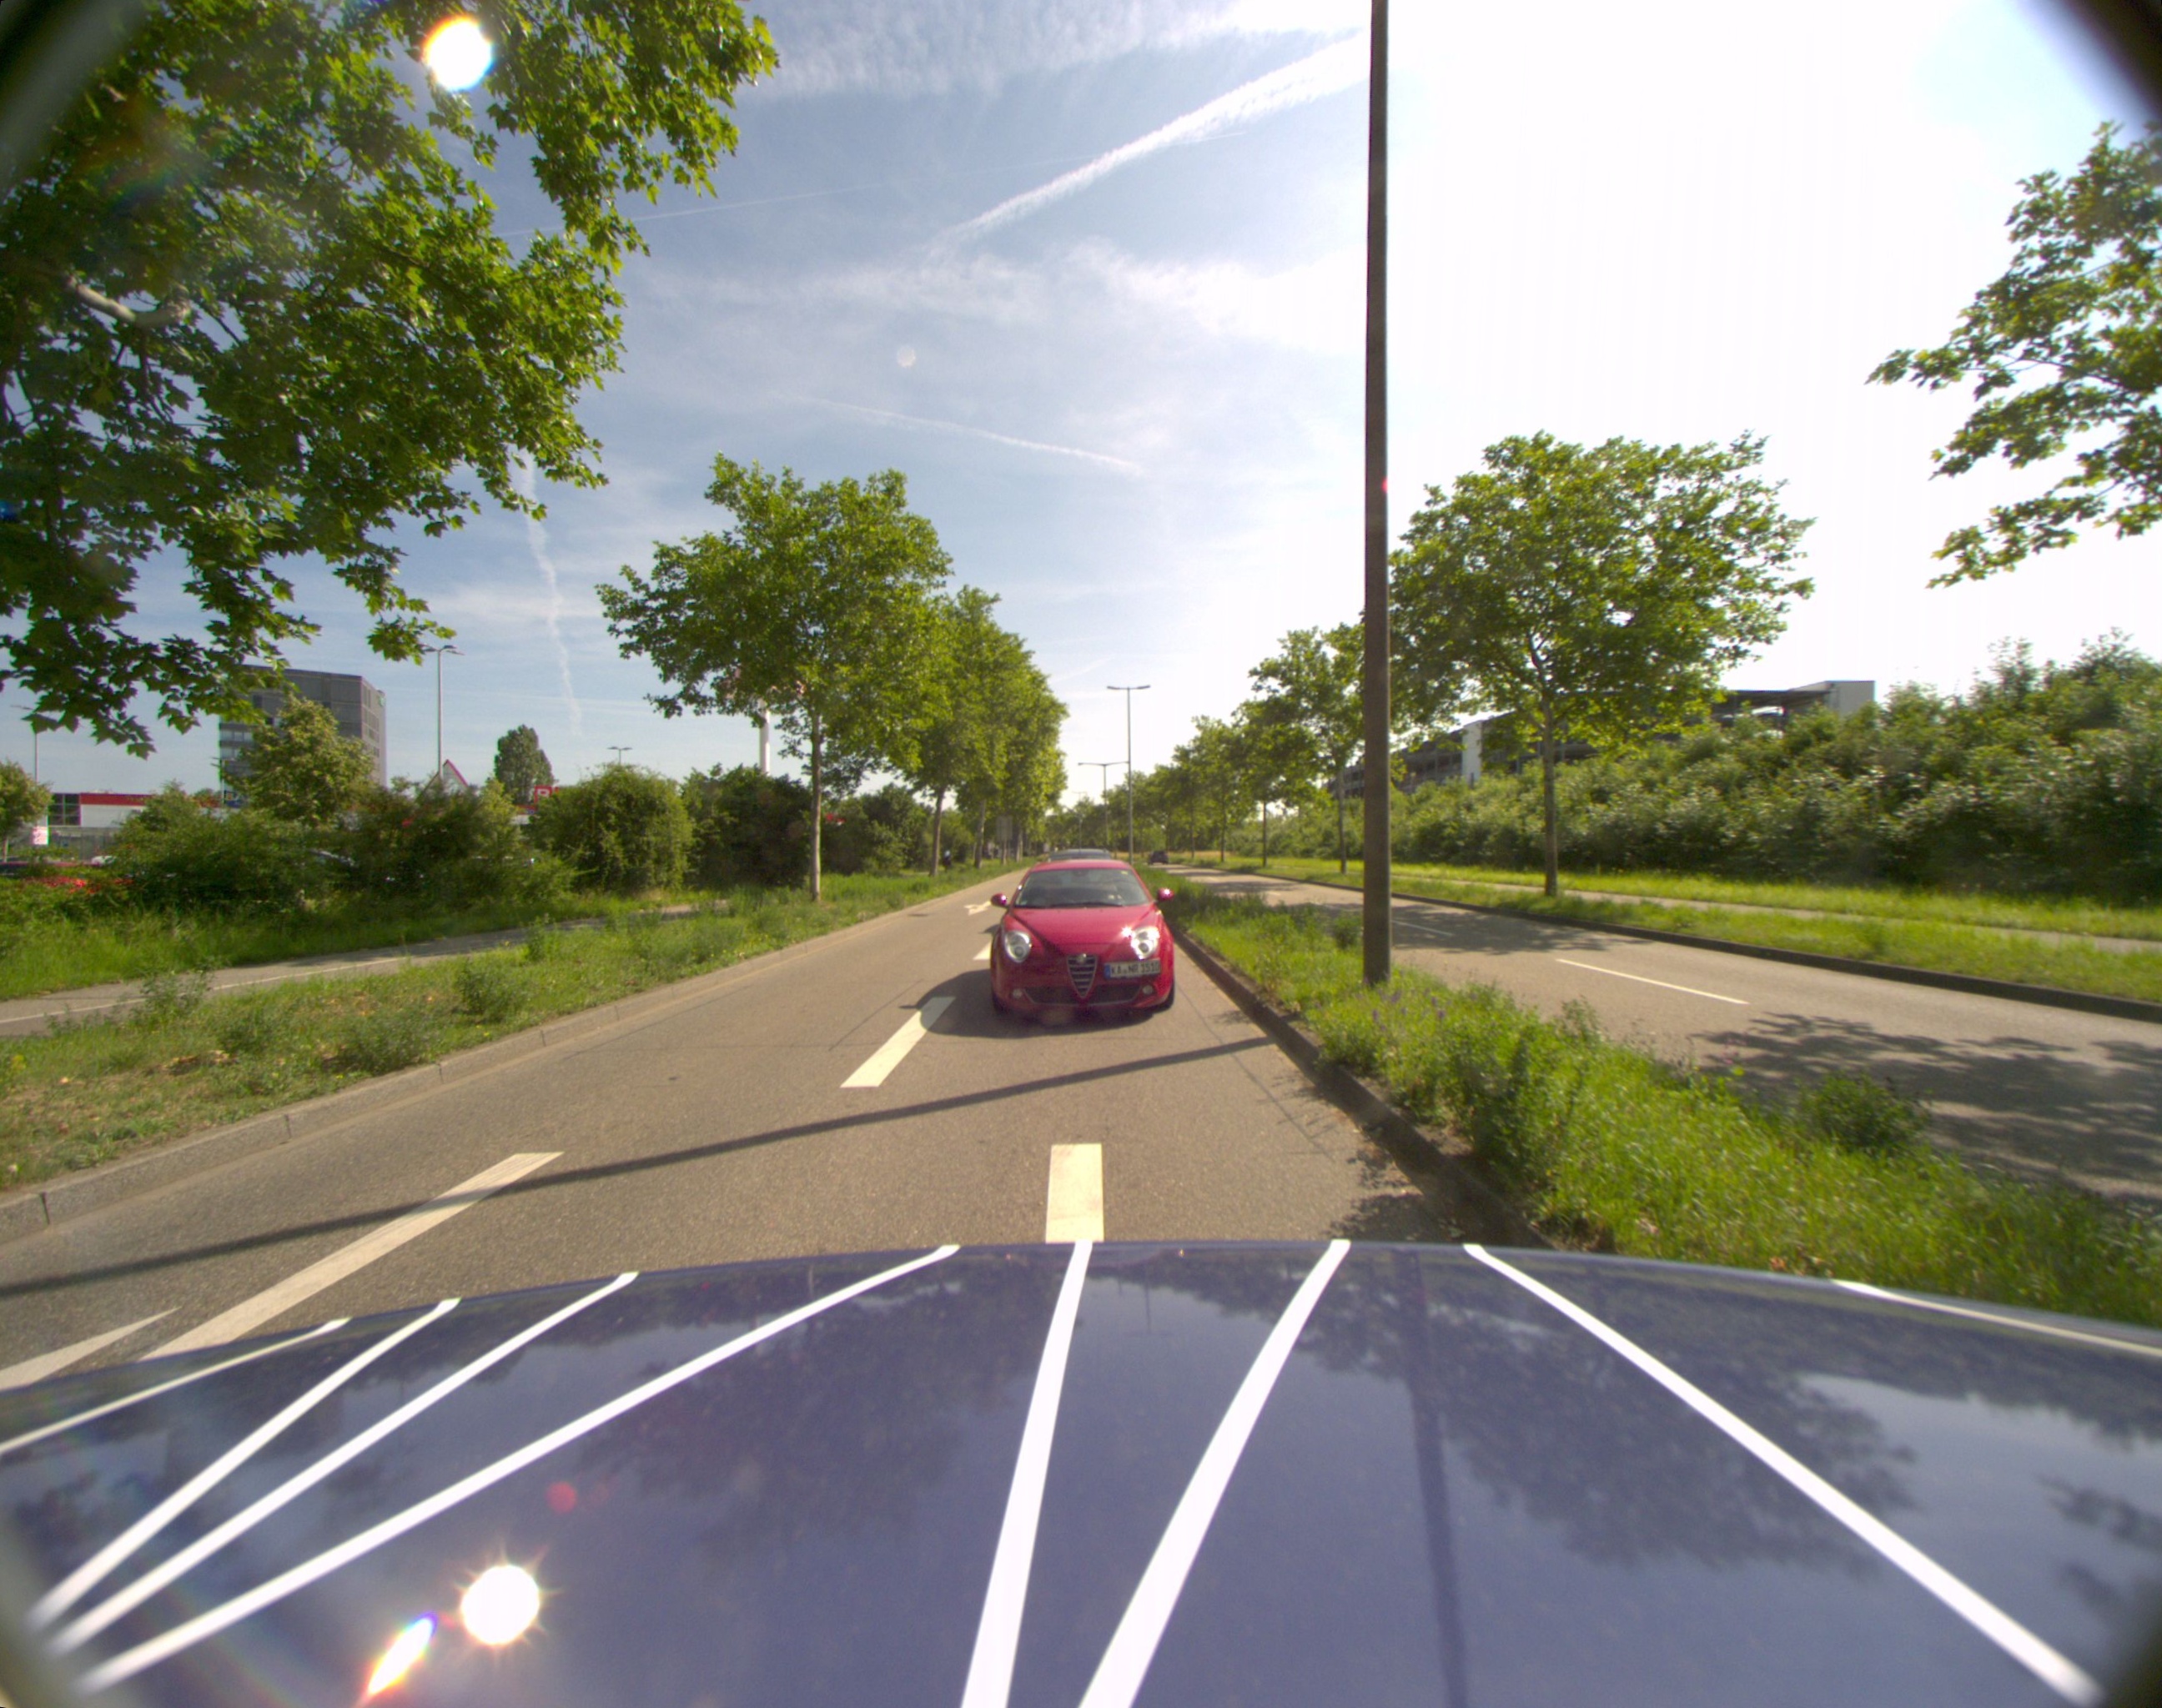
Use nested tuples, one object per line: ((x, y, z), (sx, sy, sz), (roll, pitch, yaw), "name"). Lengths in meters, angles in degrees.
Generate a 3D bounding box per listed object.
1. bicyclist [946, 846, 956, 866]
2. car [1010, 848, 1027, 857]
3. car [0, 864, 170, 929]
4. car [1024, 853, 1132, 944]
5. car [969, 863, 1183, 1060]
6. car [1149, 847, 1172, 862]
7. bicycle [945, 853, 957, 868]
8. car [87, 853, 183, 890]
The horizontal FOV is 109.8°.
((-10.655, 0.180, 62.354), (0.687, 1.622, 1.002), (0, 1, 1), "bicyclist")
((-14.040, -0.360, 169.960), (2.003, 2.002, 4.687), (-1, 1, -30), "car")
((-22.763, 0.888, 16.490), (3.563, 1.292, 1.766), (0, 1, -6), "car")
((-0.028, 0.774, 15.386), (1.874, 1.536, 4.081), (-1, 1, 1), "car")
((-0.012, 0.882, 8.010), (1.658, 1.430, 3.907), (-2, 1, 1), "car")
((8.188, 0.018, 78.571), (1.868, 1.459, 3.936), (-1, 1, 0), "car")
((-10.653, 0.519, 62.315), (0.687, 1.230, 1.934), (0, 1, 1), "bicycle")
((-43.170, 0.746, 34.785), (1.693, 1.565, 3.989), (-1, 1, -35), "car")
